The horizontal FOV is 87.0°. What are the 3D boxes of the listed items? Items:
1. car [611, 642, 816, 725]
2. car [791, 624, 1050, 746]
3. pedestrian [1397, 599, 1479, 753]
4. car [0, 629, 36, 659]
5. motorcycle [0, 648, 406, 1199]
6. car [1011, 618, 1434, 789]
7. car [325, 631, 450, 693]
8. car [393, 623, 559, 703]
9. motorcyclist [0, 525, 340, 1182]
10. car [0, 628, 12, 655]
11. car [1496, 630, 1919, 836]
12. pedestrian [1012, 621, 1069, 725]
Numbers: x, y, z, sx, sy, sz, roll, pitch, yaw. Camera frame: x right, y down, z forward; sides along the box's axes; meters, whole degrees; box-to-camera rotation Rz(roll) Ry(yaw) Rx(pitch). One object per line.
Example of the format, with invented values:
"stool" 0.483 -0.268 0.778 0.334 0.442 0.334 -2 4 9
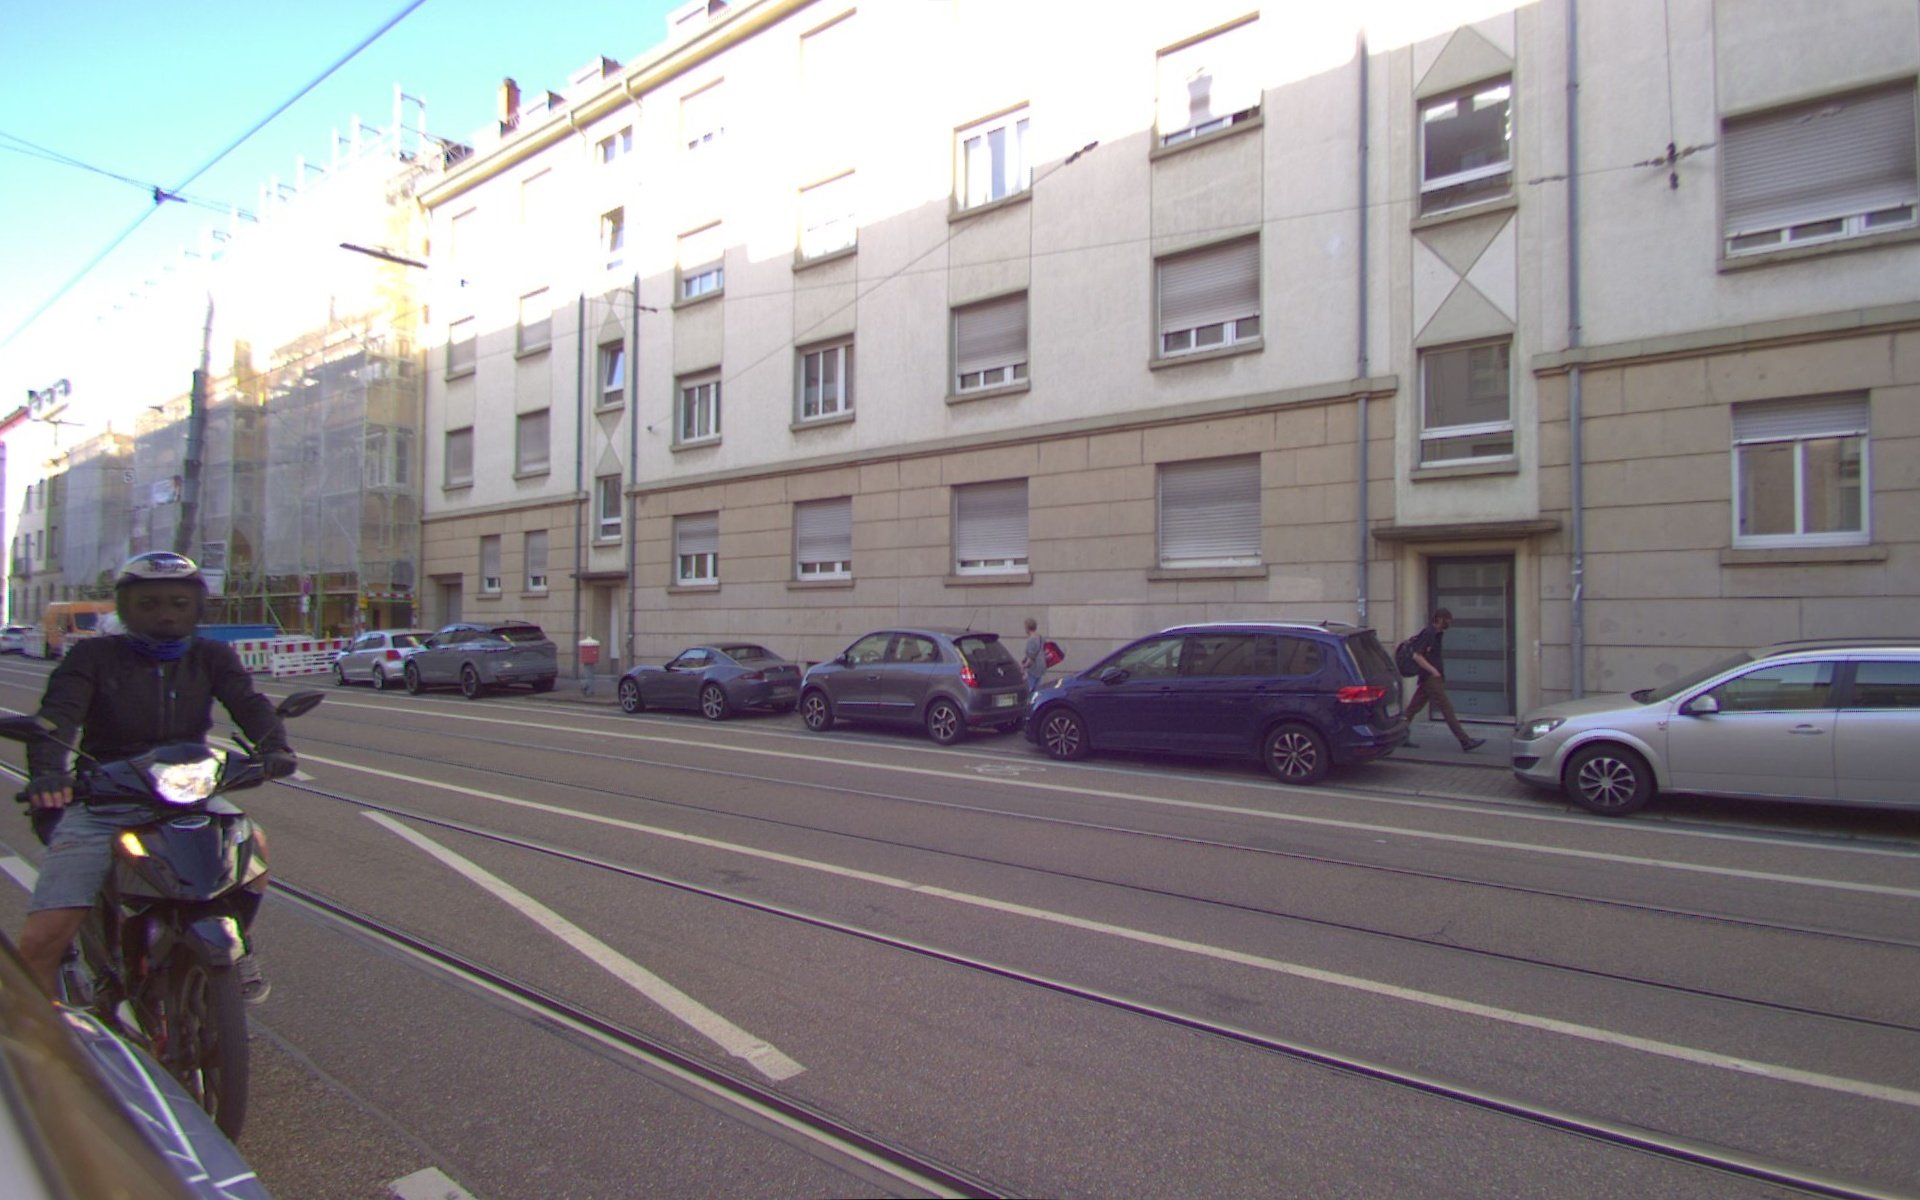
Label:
"car" -4.317 1.370 17.500 3.681 1.244 1.502 -1 -1 38
"car" -0.631 1.136 14.654 3.535 1.539 1.659 -1 -1 38
"pedestrian" 5.575 0.868 11.803 0.729 1.722 0.597 -2 -3 39
"car" -50.070 2.275 53.338 3.964 1.498 1.662 -2 -1 42
"motorcycle" -2.642 0.822 3.236 2.272 1.302 0.781 -2 -3 41
"car" 2.890 1.036 11.675 4.383 1.611 1.779 -1 -1 38
"car" -14.387 1.502 25.396 3.506 1.423 1.524 -1 -1 38
"car" -10.886 1.338 22.659 4.201 1.611 1.675 -1 -1 38
"motorcyclist" -2.545 0.661 3.159 0.899 1.668 0.781 -2 -3 41
"car" -54.586 2.331 56.815 3.964 1.498 1.662 -2 -1 42
"car" 7.124 1.006 8.501 4.383 1.489 1.779 -1 -1 38
"pedestrian" 1.236 1.097 15.525 0.693 1.553 0.563 -2 -3 39
